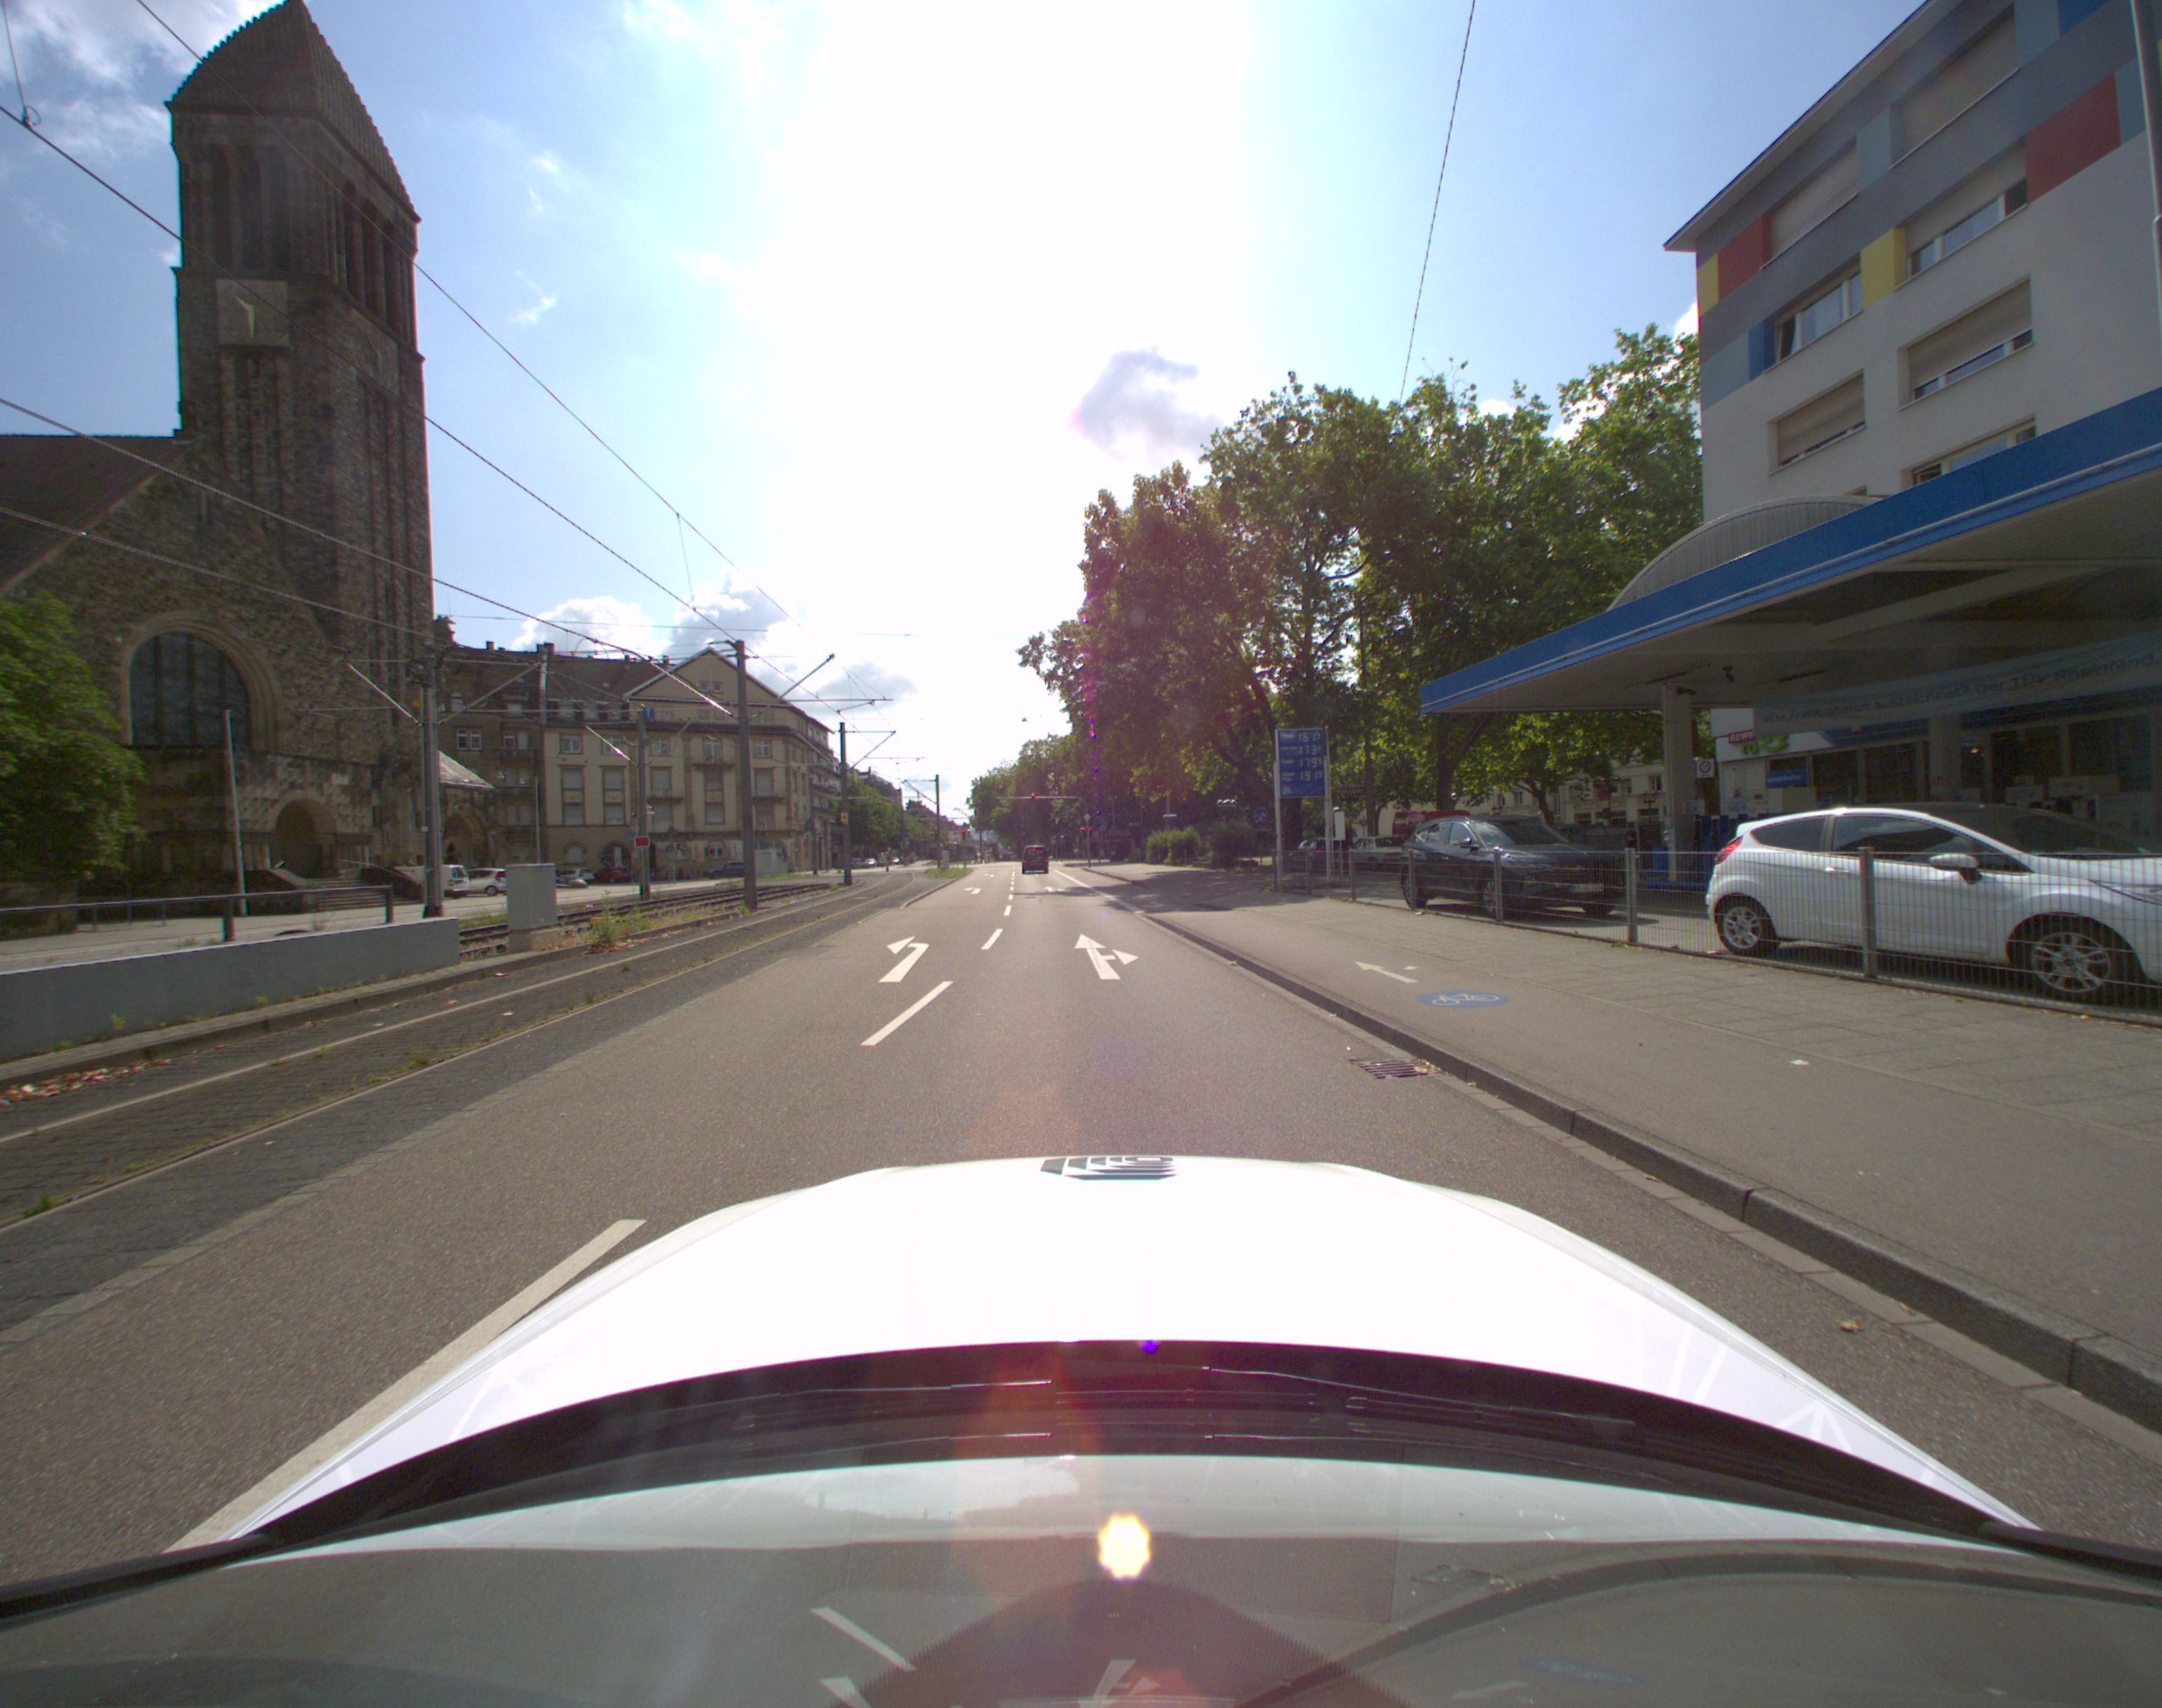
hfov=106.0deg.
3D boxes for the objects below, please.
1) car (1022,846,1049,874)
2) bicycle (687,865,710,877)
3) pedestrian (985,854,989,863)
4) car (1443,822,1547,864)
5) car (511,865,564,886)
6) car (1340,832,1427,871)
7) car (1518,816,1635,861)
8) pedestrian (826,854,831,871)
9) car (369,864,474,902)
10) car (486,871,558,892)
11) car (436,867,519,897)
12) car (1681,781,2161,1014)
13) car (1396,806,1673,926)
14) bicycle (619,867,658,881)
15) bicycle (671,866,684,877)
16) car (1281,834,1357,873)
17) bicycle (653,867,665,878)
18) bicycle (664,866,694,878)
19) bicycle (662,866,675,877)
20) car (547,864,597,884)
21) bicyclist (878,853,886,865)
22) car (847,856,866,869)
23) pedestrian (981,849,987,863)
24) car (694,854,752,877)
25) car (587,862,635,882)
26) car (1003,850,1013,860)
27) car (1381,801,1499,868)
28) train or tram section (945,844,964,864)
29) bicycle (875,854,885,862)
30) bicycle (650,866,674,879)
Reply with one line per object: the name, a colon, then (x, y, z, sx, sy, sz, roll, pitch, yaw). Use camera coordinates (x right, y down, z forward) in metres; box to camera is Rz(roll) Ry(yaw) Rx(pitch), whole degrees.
car: (-3.065, 0.362, 54.350, 1.747, 1.808, 3.469, -1, 0, -4)
bicycle: (-38.583, 1.704, 82.117, 0.799, 1.053, 2.572, -2, 1, 7)
pedestrian: (-12.027, 0.566, 104.089, 0.463, 1.144, 0.434, -2, 0, -5)
car: (17.897, -0.471, 35.509, 2.002, 1.651, 4.647, -1, 1, -3)
car: (-49.575, 1.960, 74.299, 3.954, 1.673, 2.010, -2, 0, 19)
car: (12.622, -0.121, 34.215, 1.648, 1.470, 4.031, -3, 0, -8)
car: (21.001, -0.628, 34.751, 2.002, 1.754, 4.647, -1, 1, -3)
pedestrian: (-31.992, 1.069, 103.032, 0.477, 2.013, 0.418, -2, 0, -10)
car: (-35.227, 1.516, 43.593, 3.867, 1.748, 1.890, -2, 1, -8)
car: (-44.888, 2.201, 65.519, 4.583, 1.436, 1.691, -3, 0, -29)
car: (-34.717, 1.615, 46.930, 3.262, 1.502, 1.850, -2, 1, -7)
car: (7.482, 0.233, 6.787, 1.803, 1.455, 3.994, -2, 1, -5)
car: (7.133, 0.139, 13.475, 1.802, 1.602, 4.576, -2, 1, -4)
bicycle: (-42.664, 1.937, 78.530, 3.288, 1.253, 1.002, -2, 0, 11)
bicycle: (-40.205, 1.748, 81.199, 0.809, 1.053, 2.539, -3, 1, -34)
car: (9.899, -0.030, 34.161, 1.646, 1.470, 4.035, -2, 1, -6)
bicycle: (-41.639, 1.779, 80.300, 0.745, 1.053, 2.539, -3, 1, -34)
bicycle: (-39.331, 1.737, 79.723, 2.576, 1.053, 0.675, -3, 1, -33)
bicycle: (-40.925, 1.764, 80.721, 0.809, 1.053, 2.539, -3, 1, -34)
car: (-47.494, 1.868, 75.928, 3.954, 1.639, 1.812, -2, 0, 19)
bicyclist: (-25.888, 0.691, 105.703, 0.782, 1.511, 0.993, -2, 1, -24)
car: (-35.137, 1.328, 127.633, 1.990, 2.013, 3.994, -2, 0, -5)
pedestrian: (-12.349, 0.294, 103.378, 0.658, 1.784, 0.659, -2, 0, -5)
car: (-34.383, 1.095, 78.269, 4.821, 2.013, 1.981, -3, 1, -30)
car: (-44.610, 1.734, 77.274, 3.949, 1.674, 2.012, -2, 1, 28)
car: (-14.207, 0.239, 158.590, 1.860, 1.752, 3.993, -3, 1, -5)
car: (15.259, -0.796, 35.103, 2.107, 2.582, 6.013, -2, 1, -3)
train or tram section: (-22.515, -0.050, 145.531, 2.237, 3.331, 12.951, -2, 1, -4)
bicycle: (-26.058, 0.501, 105.594, 0.898, 1.048, 2.291, -2, 1, -23)
bicycle: (-40.231, 1.760, 78.221, 1.987, 1.114, 0.481, -3, 1, -42)
